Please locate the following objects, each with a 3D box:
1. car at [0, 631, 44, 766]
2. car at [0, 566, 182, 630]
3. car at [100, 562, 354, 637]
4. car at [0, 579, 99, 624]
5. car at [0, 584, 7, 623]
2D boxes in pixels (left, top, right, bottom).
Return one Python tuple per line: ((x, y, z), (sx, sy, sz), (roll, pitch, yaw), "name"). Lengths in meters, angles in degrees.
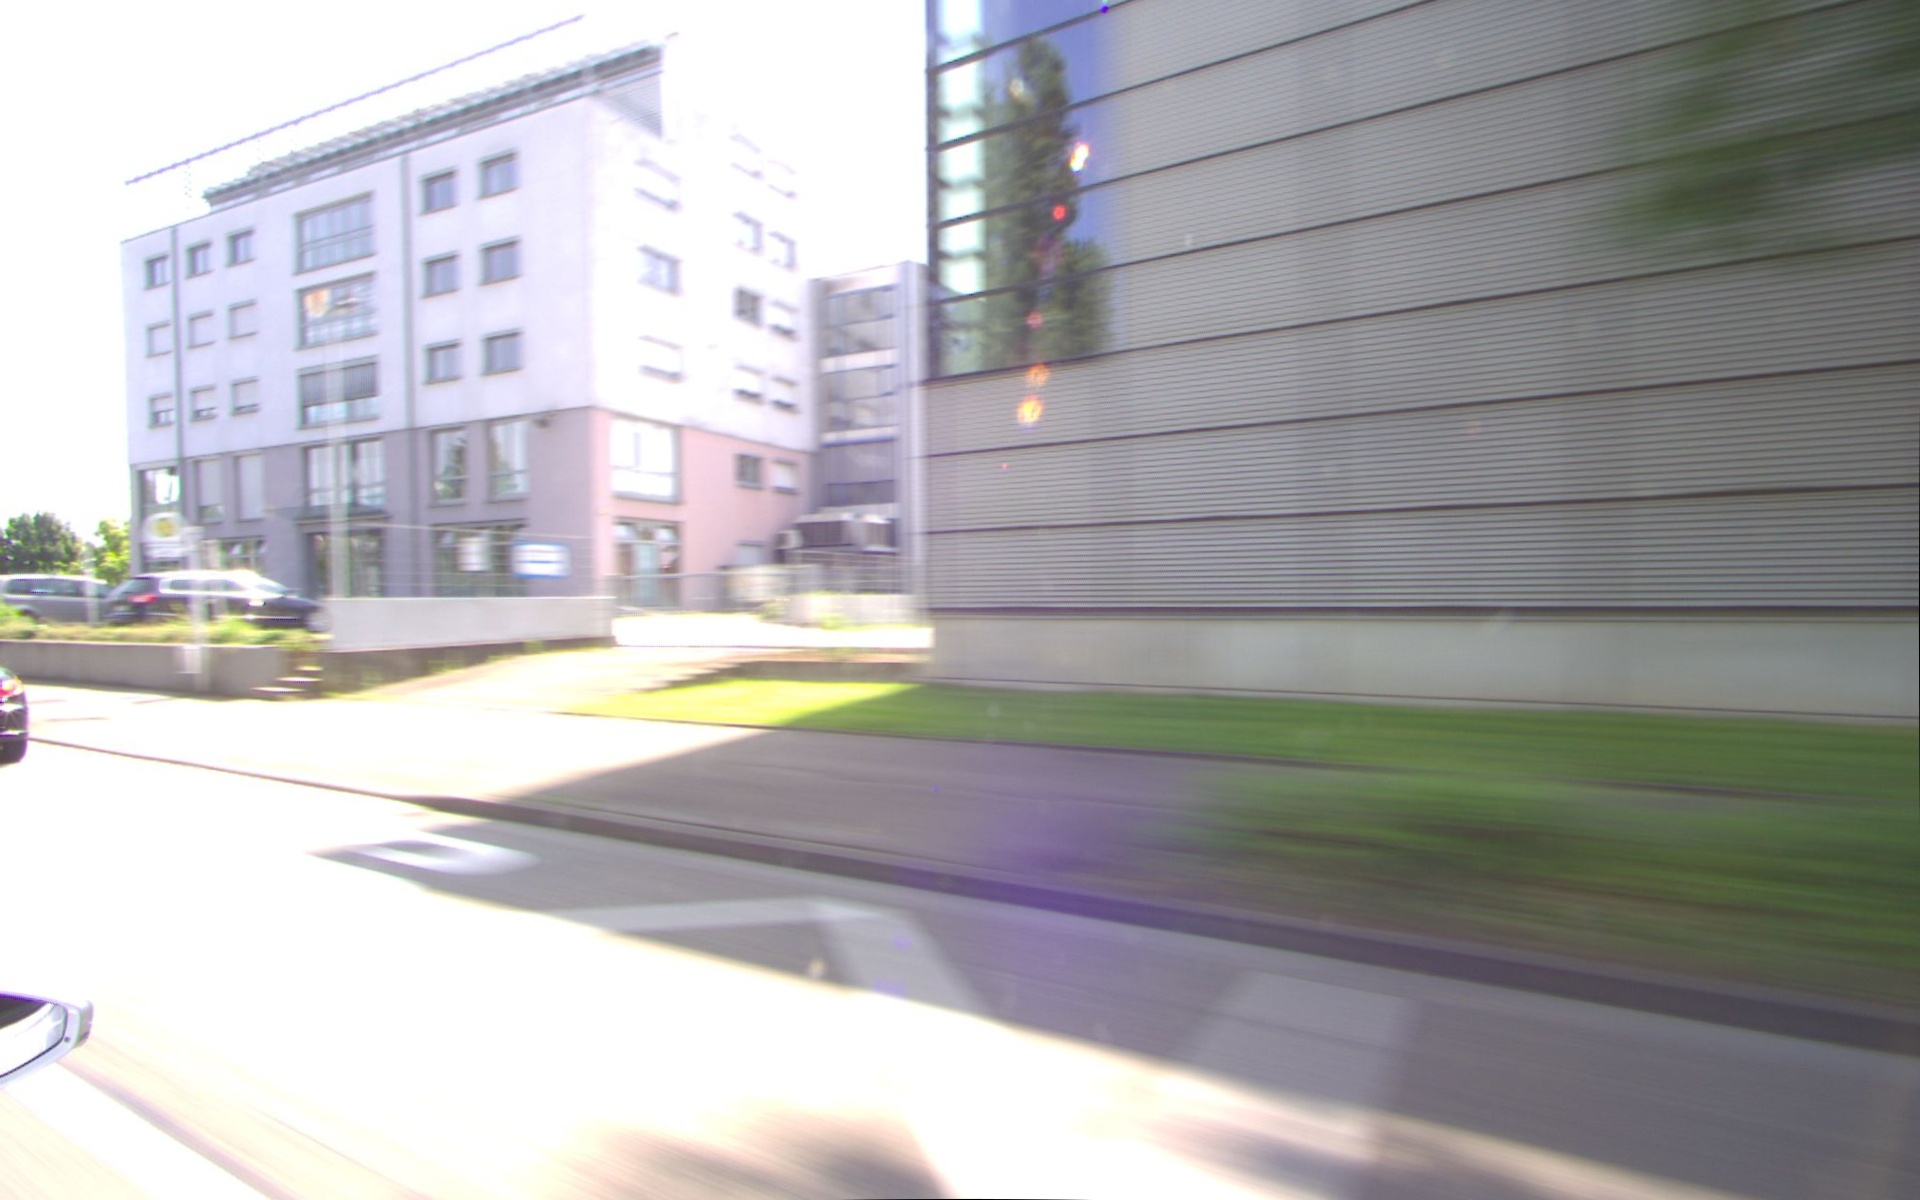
((-11.820, 1.033, 11.092), (3.554, 1.382, 1.624), (0, -1, 33), "car")
((-24.937, -0.082, 28.277), (1.971, 1.669, 4.218), (0, 1, 31), "car")
((-17.429, -0.050, 24.050), (1.971, 1.604, 4.490), (0, 1, 31), "car")
((-30.837, 0.049, 32.225), (1.970, 1.387, 4.312), (-1, 1, 30), "car")
((-36.562, 0.174, 35.330), (1.731, 1.472, 3.930), (-1, 1, 11), "car")
